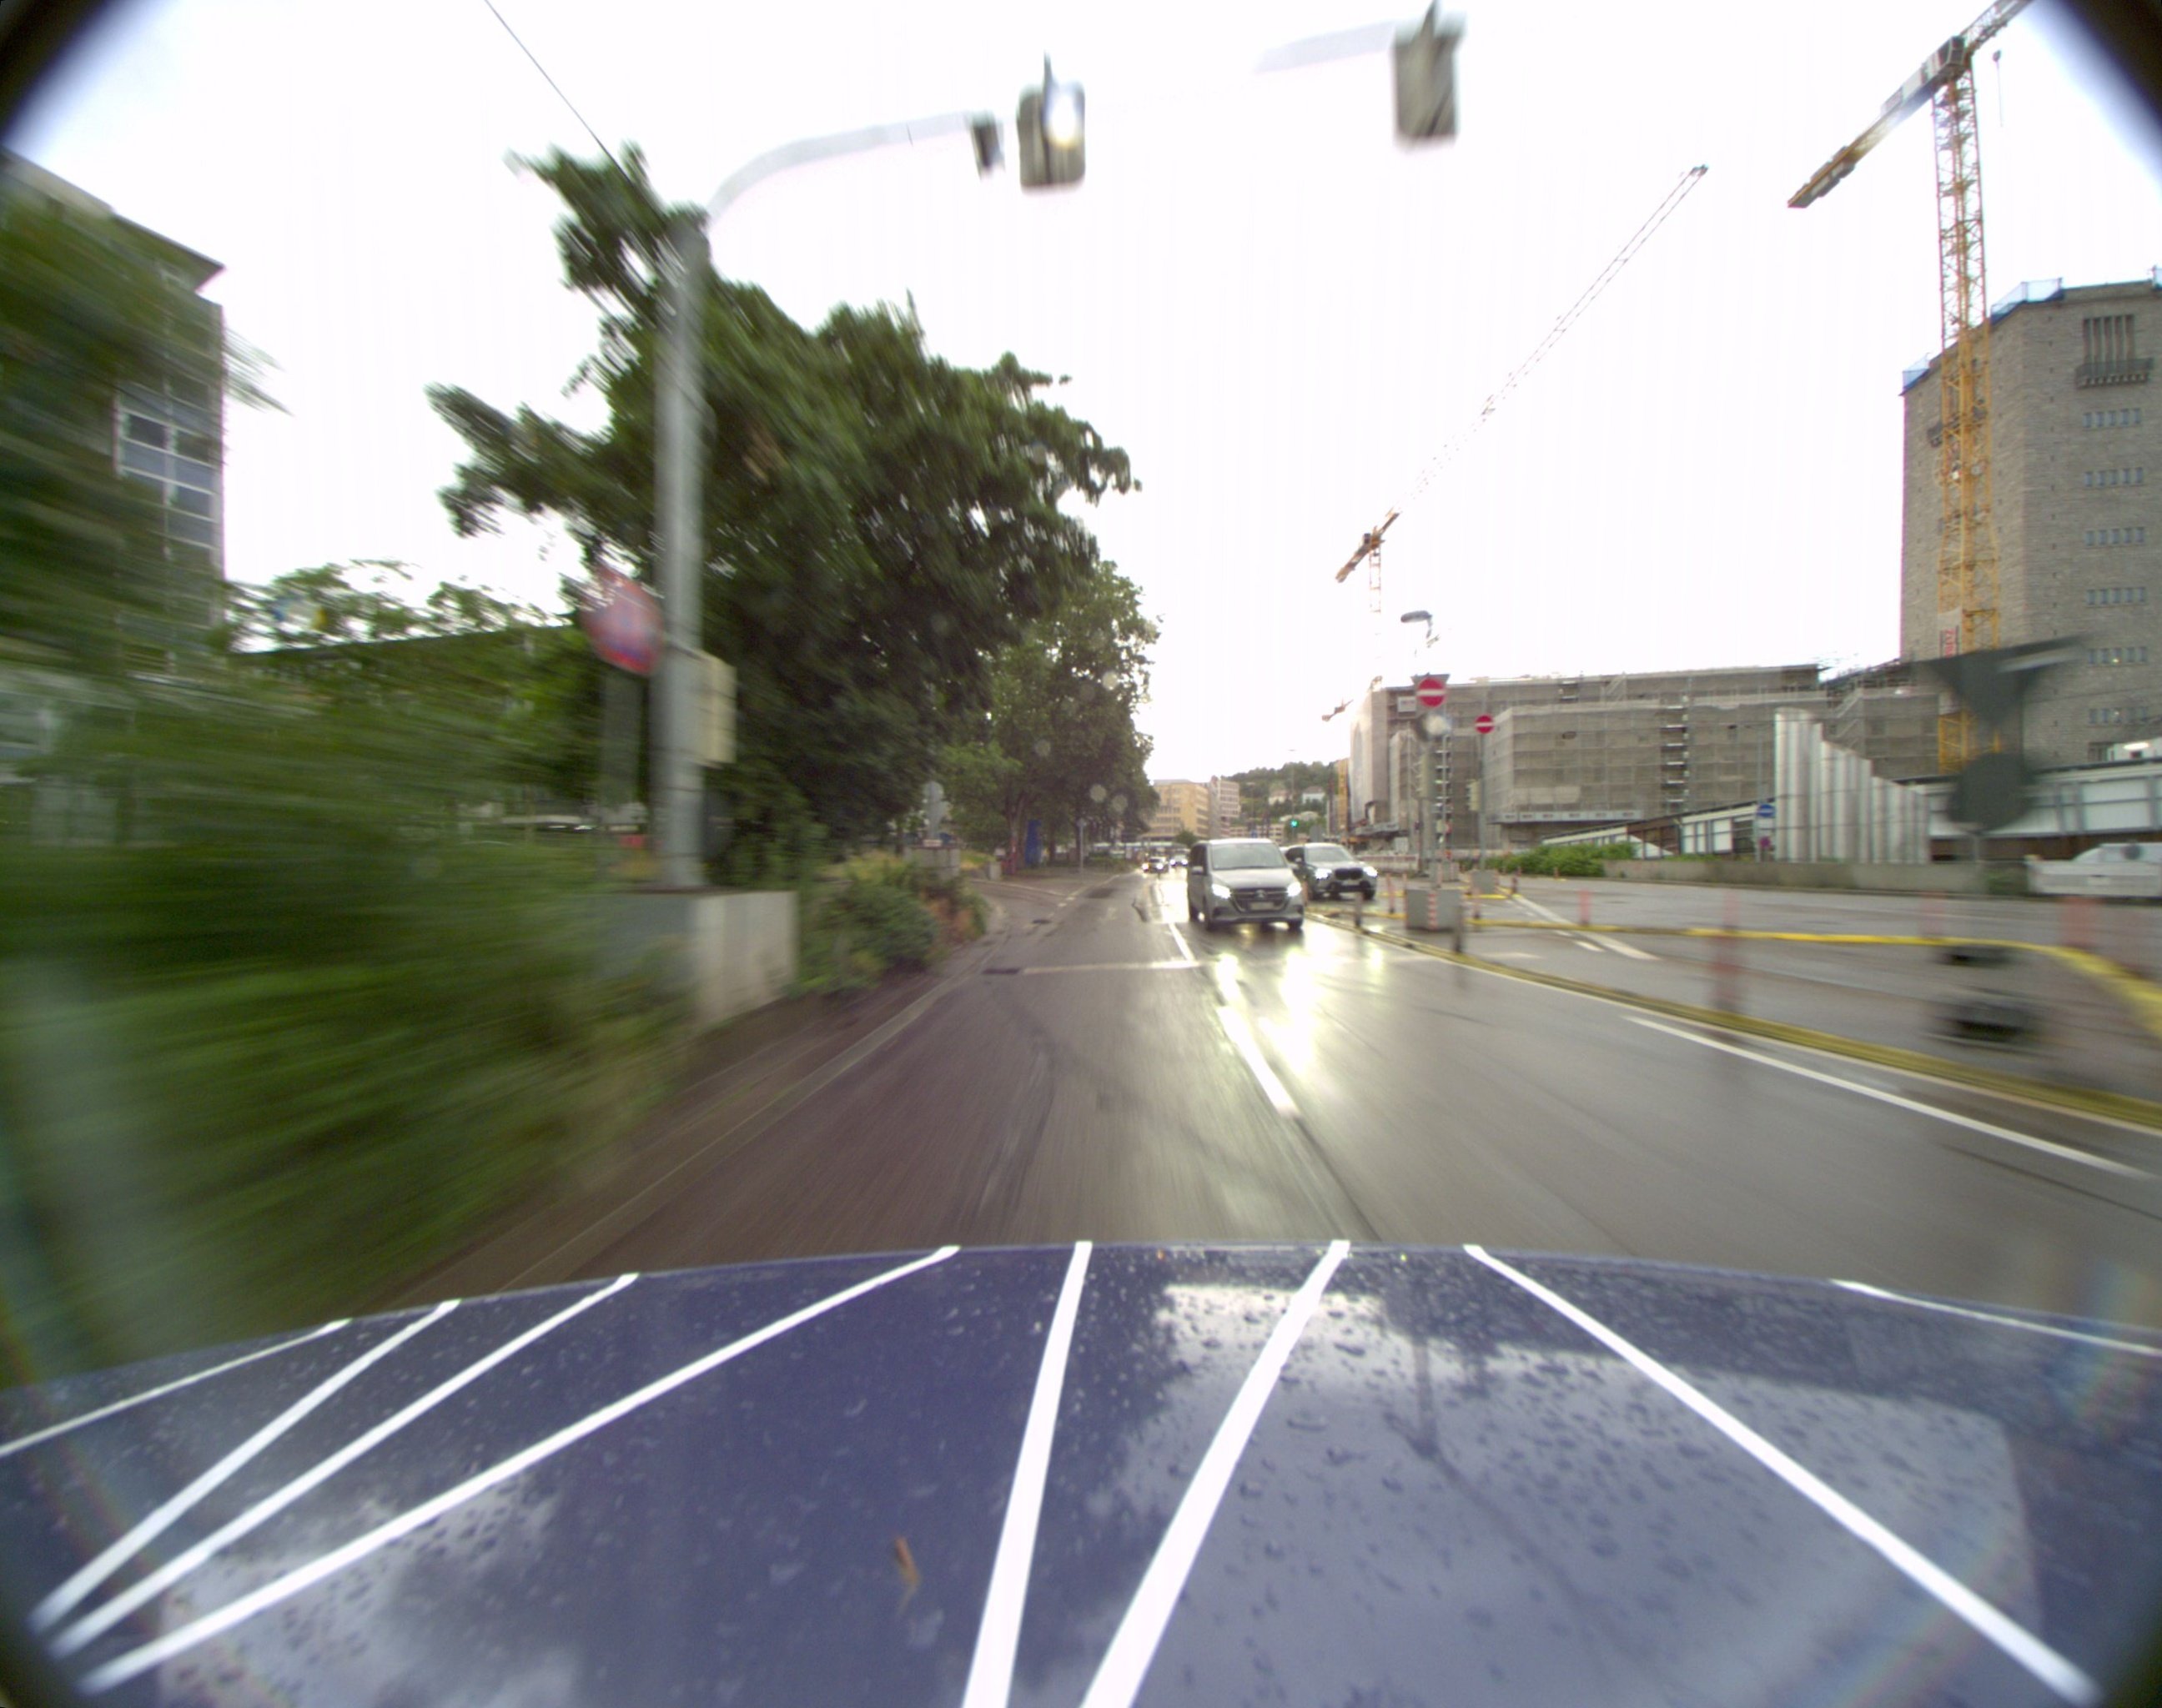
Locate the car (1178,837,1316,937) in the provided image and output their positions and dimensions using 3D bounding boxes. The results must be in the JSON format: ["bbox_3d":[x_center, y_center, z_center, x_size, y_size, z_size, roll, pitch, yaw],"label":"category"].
[{"bbox_3d":[3.467,0.646,16.991,1.998,1.845,5.358,-2,-1,1],"label":"car"}]

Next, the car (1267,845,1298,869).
[{"bbox_3d":[18.949,0.263,71.674,2.002,2.194,4.999,0,0,6],"label":"car"}]

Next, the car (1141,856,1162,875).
[{"bbox_3d":[6.973,1.085,74.857,1.998,1.753,4.001,0,0,5],"label":"car"}]

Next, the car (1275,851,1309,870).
[{"bbox_3d":[18.115,0.518,65.401,2.171,1.564,4.001,0,0,5],"label":"car"}]

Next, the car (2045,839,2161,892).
[{"bbox_3d":[41.294,0.438,29.234,2.003,2.002,5.014,0,0,-32],"label":"car"}]

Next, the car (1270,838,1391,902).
[{"bbox_3d":[7.997,0.461,24.952,2.215,1.852,5.073,-1,0,-1],"label":"car"}]

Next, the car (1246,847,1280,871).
[{"bbox_3d":[14.298,0.378,59.804,1.998,1.803,4.294,0,1,5],"label":"car"}]

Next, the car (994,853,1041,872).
[{"bbox_3d":[-5.178,0.695,61.441,1.705,1.447,3.988,0,1,-41],"label":"car"}]
